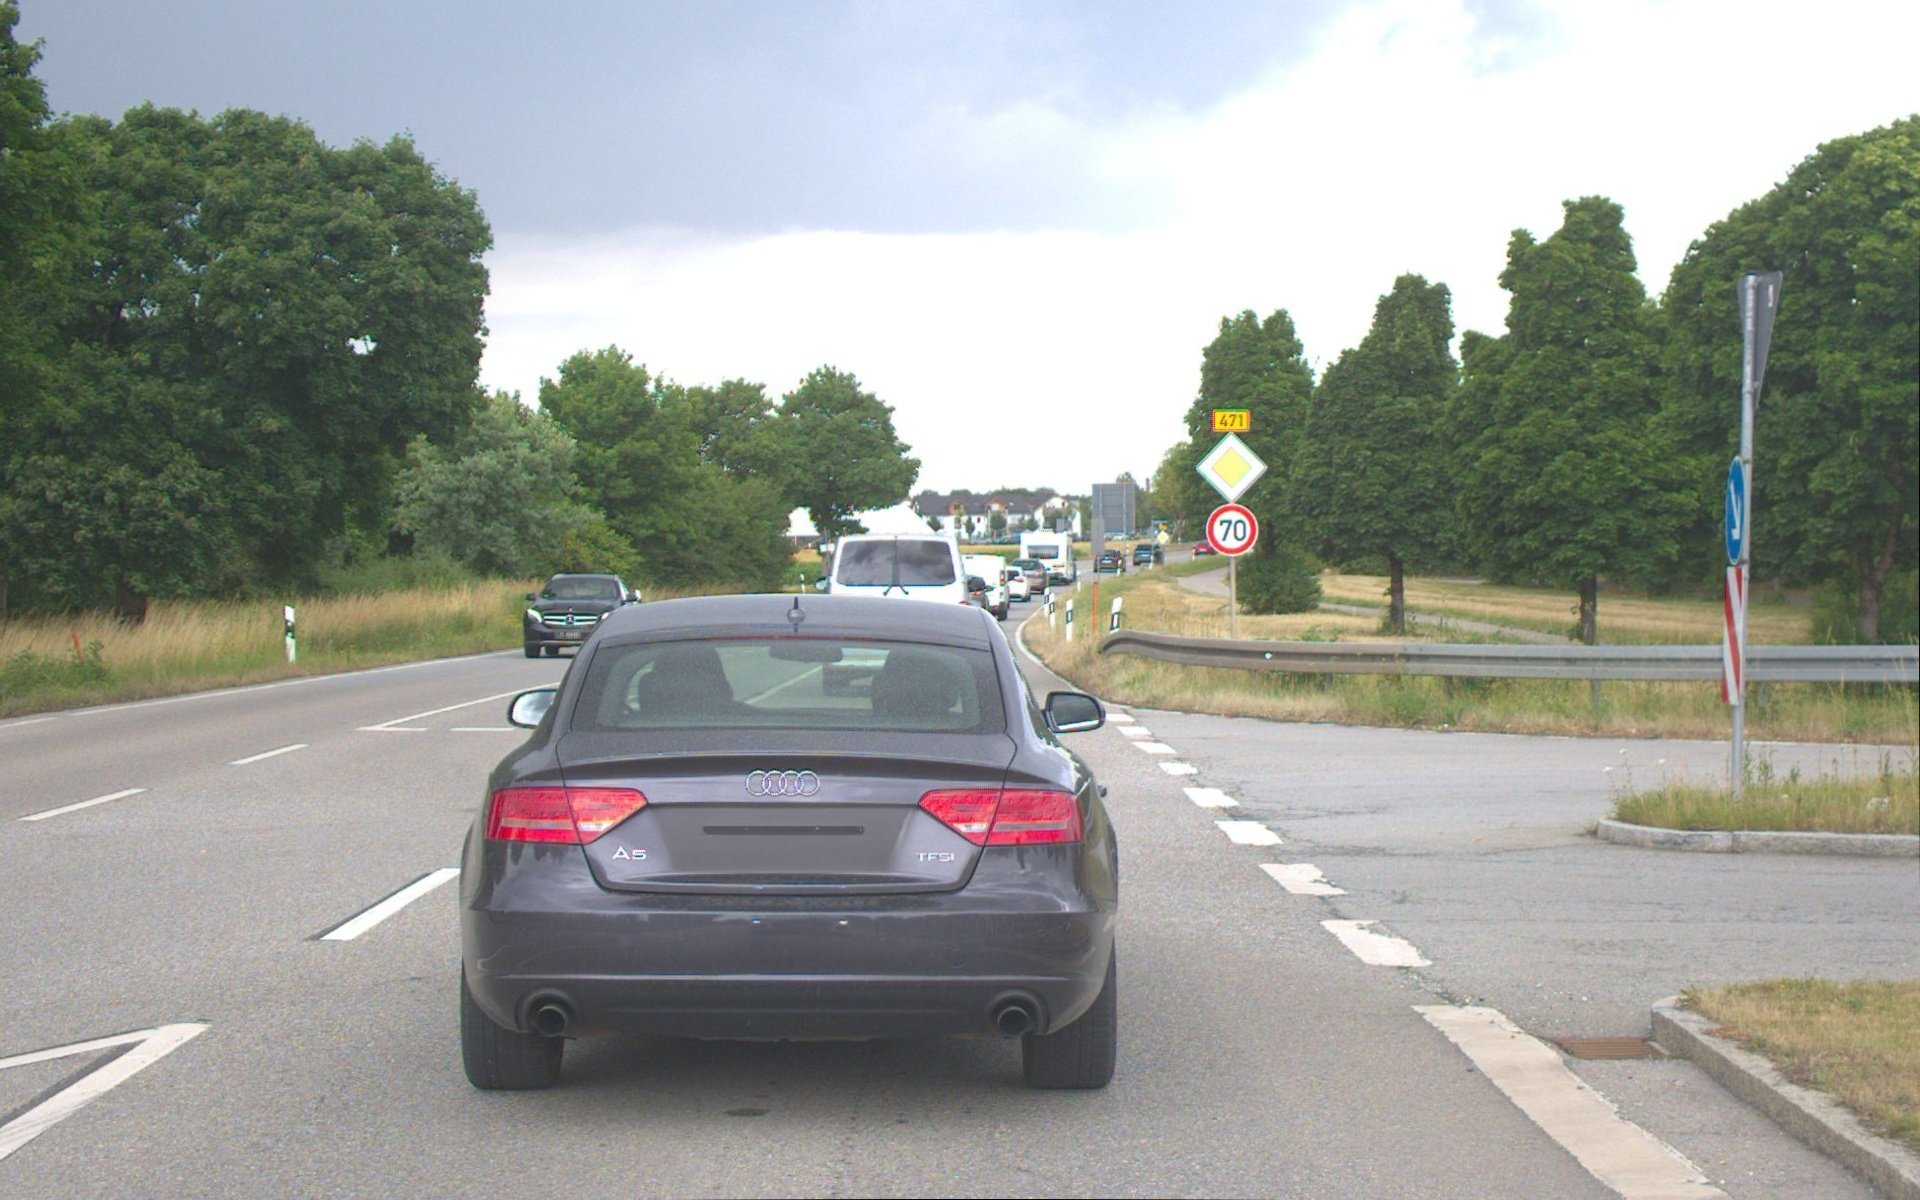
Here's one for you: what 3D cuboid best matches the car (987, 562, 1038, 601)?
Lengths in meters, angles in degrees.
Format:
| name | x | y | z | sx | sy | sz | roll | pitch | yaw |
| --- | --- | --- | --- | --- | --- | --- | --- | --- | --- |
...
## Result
| name | x | y | z | sx | sy | sz | roll | pitch | yaw |
| --- | --- | --- | --- | --- | --- | --- | --- | --- | --- |
| car | 2.106 | -0.748 | 136.089 | 1.736 | 1.509 | 3.746 | 0 | 1 | 5 |

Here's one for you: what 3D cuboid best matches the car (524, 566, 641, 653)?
| name | x | y | z | sx | sy | sz | roll | pitch | yaw |
| --- | --- | --- | --- | --- | --- | --- | --- | --- | --- |
| car | -6.824 | 0.155 | 62.472 | 1.711 | 1.517 | 4.000 | 0 | 1 | -1 |

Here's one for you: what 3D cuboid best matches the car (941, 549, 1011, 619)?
| name | x | y | z | sx | sy | sz | roll | pitch | yaw |
| --- | --- | --- | --- | --- | --- | --- | --- | --- | --- |
| car | 0.497 | -0.490 | 104.678 | 1.993 | 2.081 | 4.000 | 0 | 1 | 2 |

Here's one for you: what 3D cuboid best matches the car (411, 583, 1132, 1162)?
| name | x | y | z | sx | sy | sz | roll | pitch | yaw |
| --- | --- | --- | --- | --- | --- | --- | --- | --- | --- |
| car | -0.496 | 0.672 | 10.574 | 1.783 | 1.372 | 4.000 | 1 | 1 | -1 |

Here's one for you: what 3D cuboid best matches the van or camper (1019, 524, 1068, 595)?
| name | x | y | z | sx | sy | sz | roll | pitch | yaw |
| --- | --- | --- | --- | --- | --- | --- | --- | --- | --- |
| van or camper | 4.103 | -1.990 | 169.234 | 2.340 | 3.469 | 5.718 | 0 | 1 | 1 |

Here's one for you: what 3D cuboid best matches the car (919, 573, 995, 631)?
| name | x | y | z | sx | sy | sz | roll | pitch | yaw |
| --- | --- | --- | --- | --- | --- | --- | --- | --- | --- |
| car | -0.057 | 0.041 | 88.561 | 1.796 | 1.459 | 3.248 | 0 | 1 | 3 |

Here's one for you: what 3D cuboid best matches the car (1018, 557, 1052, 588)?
| name | x | y | z | sx | sy | sz | roll | pitch | yaw |
| --- | --- | --- | --- | --- | --- | --- | --- | --- | --- |
| car | 3.296 | -1.205 | 151.013 | 1.258 | 1.349 | 3.465 | 0 | 1 | 5 |

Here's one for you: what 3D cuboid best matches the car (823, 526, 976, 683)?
| name | x | y | z | sx | sy | sz | roll | pitch | yaw |
| --- | --- | --- | --- | --- | --- | --- | --- | --- | --- |
| car | -0.758 | 0.020 | 43.660 | 1.838 | 1.876 | 4.000 | 1 | 1 | -1 |

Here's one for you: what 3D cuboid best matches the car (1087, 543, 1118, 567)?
| name | x | y | z | sx | sy | sz | roll | pitch | yaw |
| --- | --- | --- | --- | --- | --- | --- | --- | --- | --- |
| car | 8.657 | -2.739 | 209.070 | 1.719 | 1.446 | 4.000 | 1 | 1 | 0 |

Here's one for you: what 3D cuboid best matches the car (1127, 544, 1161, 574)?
| name | x | y | z | sx | sy | sz | roll | pitch | yaw |
| --- | --- | --- | --- | --- | --- | --- | --- | --- | --- |
| car | 12.586 | -2.804 | 235.346 | 1.993 | 2.007 | 4.000 | 0 | 1 | -1 |
